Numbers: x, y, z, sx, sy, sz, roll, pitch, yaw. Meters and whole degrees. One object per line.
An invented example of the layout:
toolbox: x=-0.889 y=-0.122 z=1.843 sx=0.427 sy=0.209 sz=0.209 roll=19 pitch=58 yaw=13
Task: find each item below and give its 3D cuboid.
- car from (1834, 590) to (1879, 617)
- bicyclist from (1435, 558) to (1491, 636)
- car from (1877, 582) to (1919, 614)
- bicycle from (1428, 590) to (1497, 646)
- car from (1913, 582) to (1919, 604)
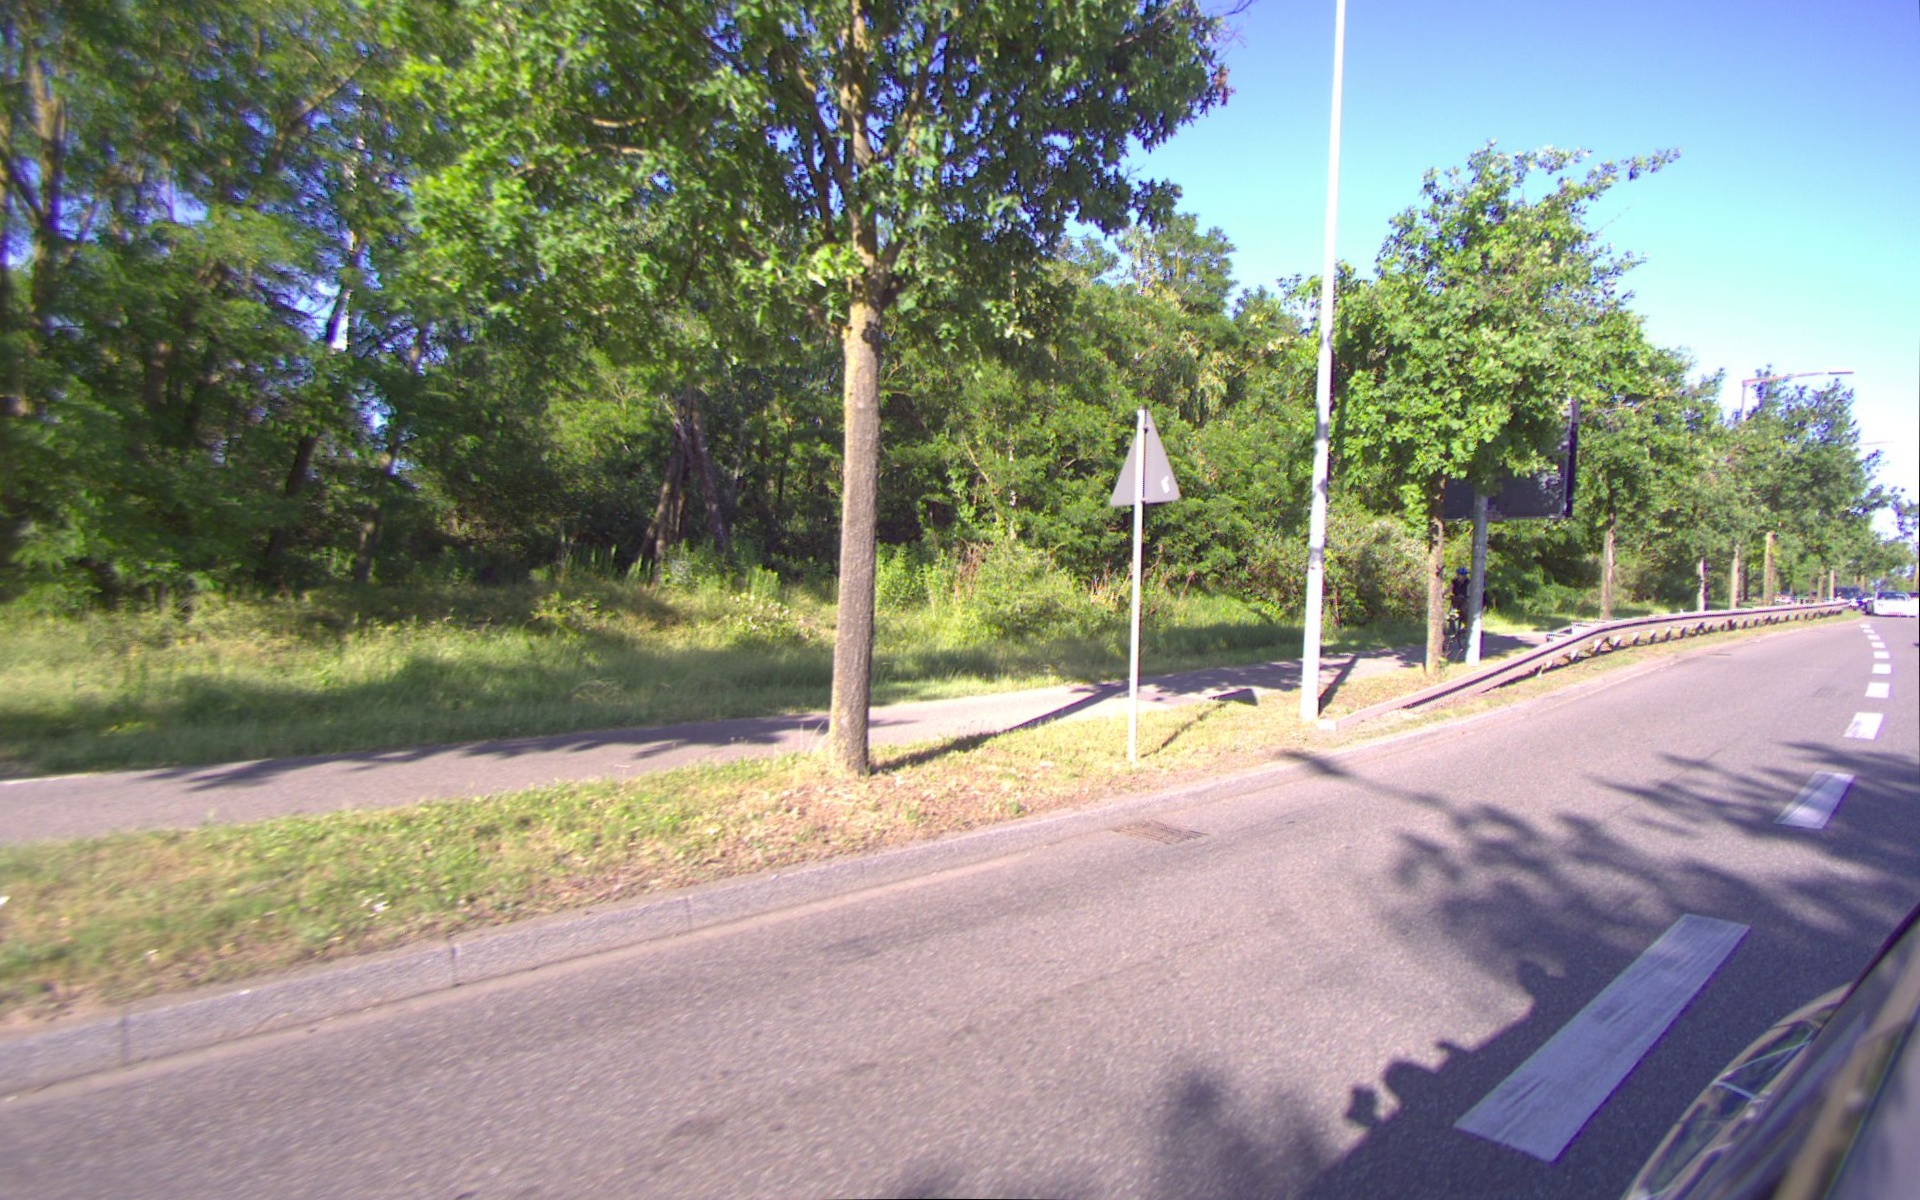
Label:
car: x=61.924 y=0.246 z=69.946 sx=1.990 sy=1.738 sz=4.212 roll=2 pitch=0 yaw=38
bicyclist: x=10.727 y=-0.069 z=21.586 sx=0.988 sy=1.597 sz=0.708 roll=1 pitch=3 yaw=-44
car: x=53.326 y=-0.100 z=56.968 sx=2.142 sy=1.586 sz=4.138 roll=6 pitch=4 yaw=39
bicycle: x=10.768 y=0.369 z=21.675 sx=1.890 sy=1.087 sz=0.701 roll=0 pitch=3 yaw=-45
car: x=65.327 y=-0.438 z=67.533 sx=1.755 sy=1.507 sz=4.225 roll=1 pitch=1 yaw=34
